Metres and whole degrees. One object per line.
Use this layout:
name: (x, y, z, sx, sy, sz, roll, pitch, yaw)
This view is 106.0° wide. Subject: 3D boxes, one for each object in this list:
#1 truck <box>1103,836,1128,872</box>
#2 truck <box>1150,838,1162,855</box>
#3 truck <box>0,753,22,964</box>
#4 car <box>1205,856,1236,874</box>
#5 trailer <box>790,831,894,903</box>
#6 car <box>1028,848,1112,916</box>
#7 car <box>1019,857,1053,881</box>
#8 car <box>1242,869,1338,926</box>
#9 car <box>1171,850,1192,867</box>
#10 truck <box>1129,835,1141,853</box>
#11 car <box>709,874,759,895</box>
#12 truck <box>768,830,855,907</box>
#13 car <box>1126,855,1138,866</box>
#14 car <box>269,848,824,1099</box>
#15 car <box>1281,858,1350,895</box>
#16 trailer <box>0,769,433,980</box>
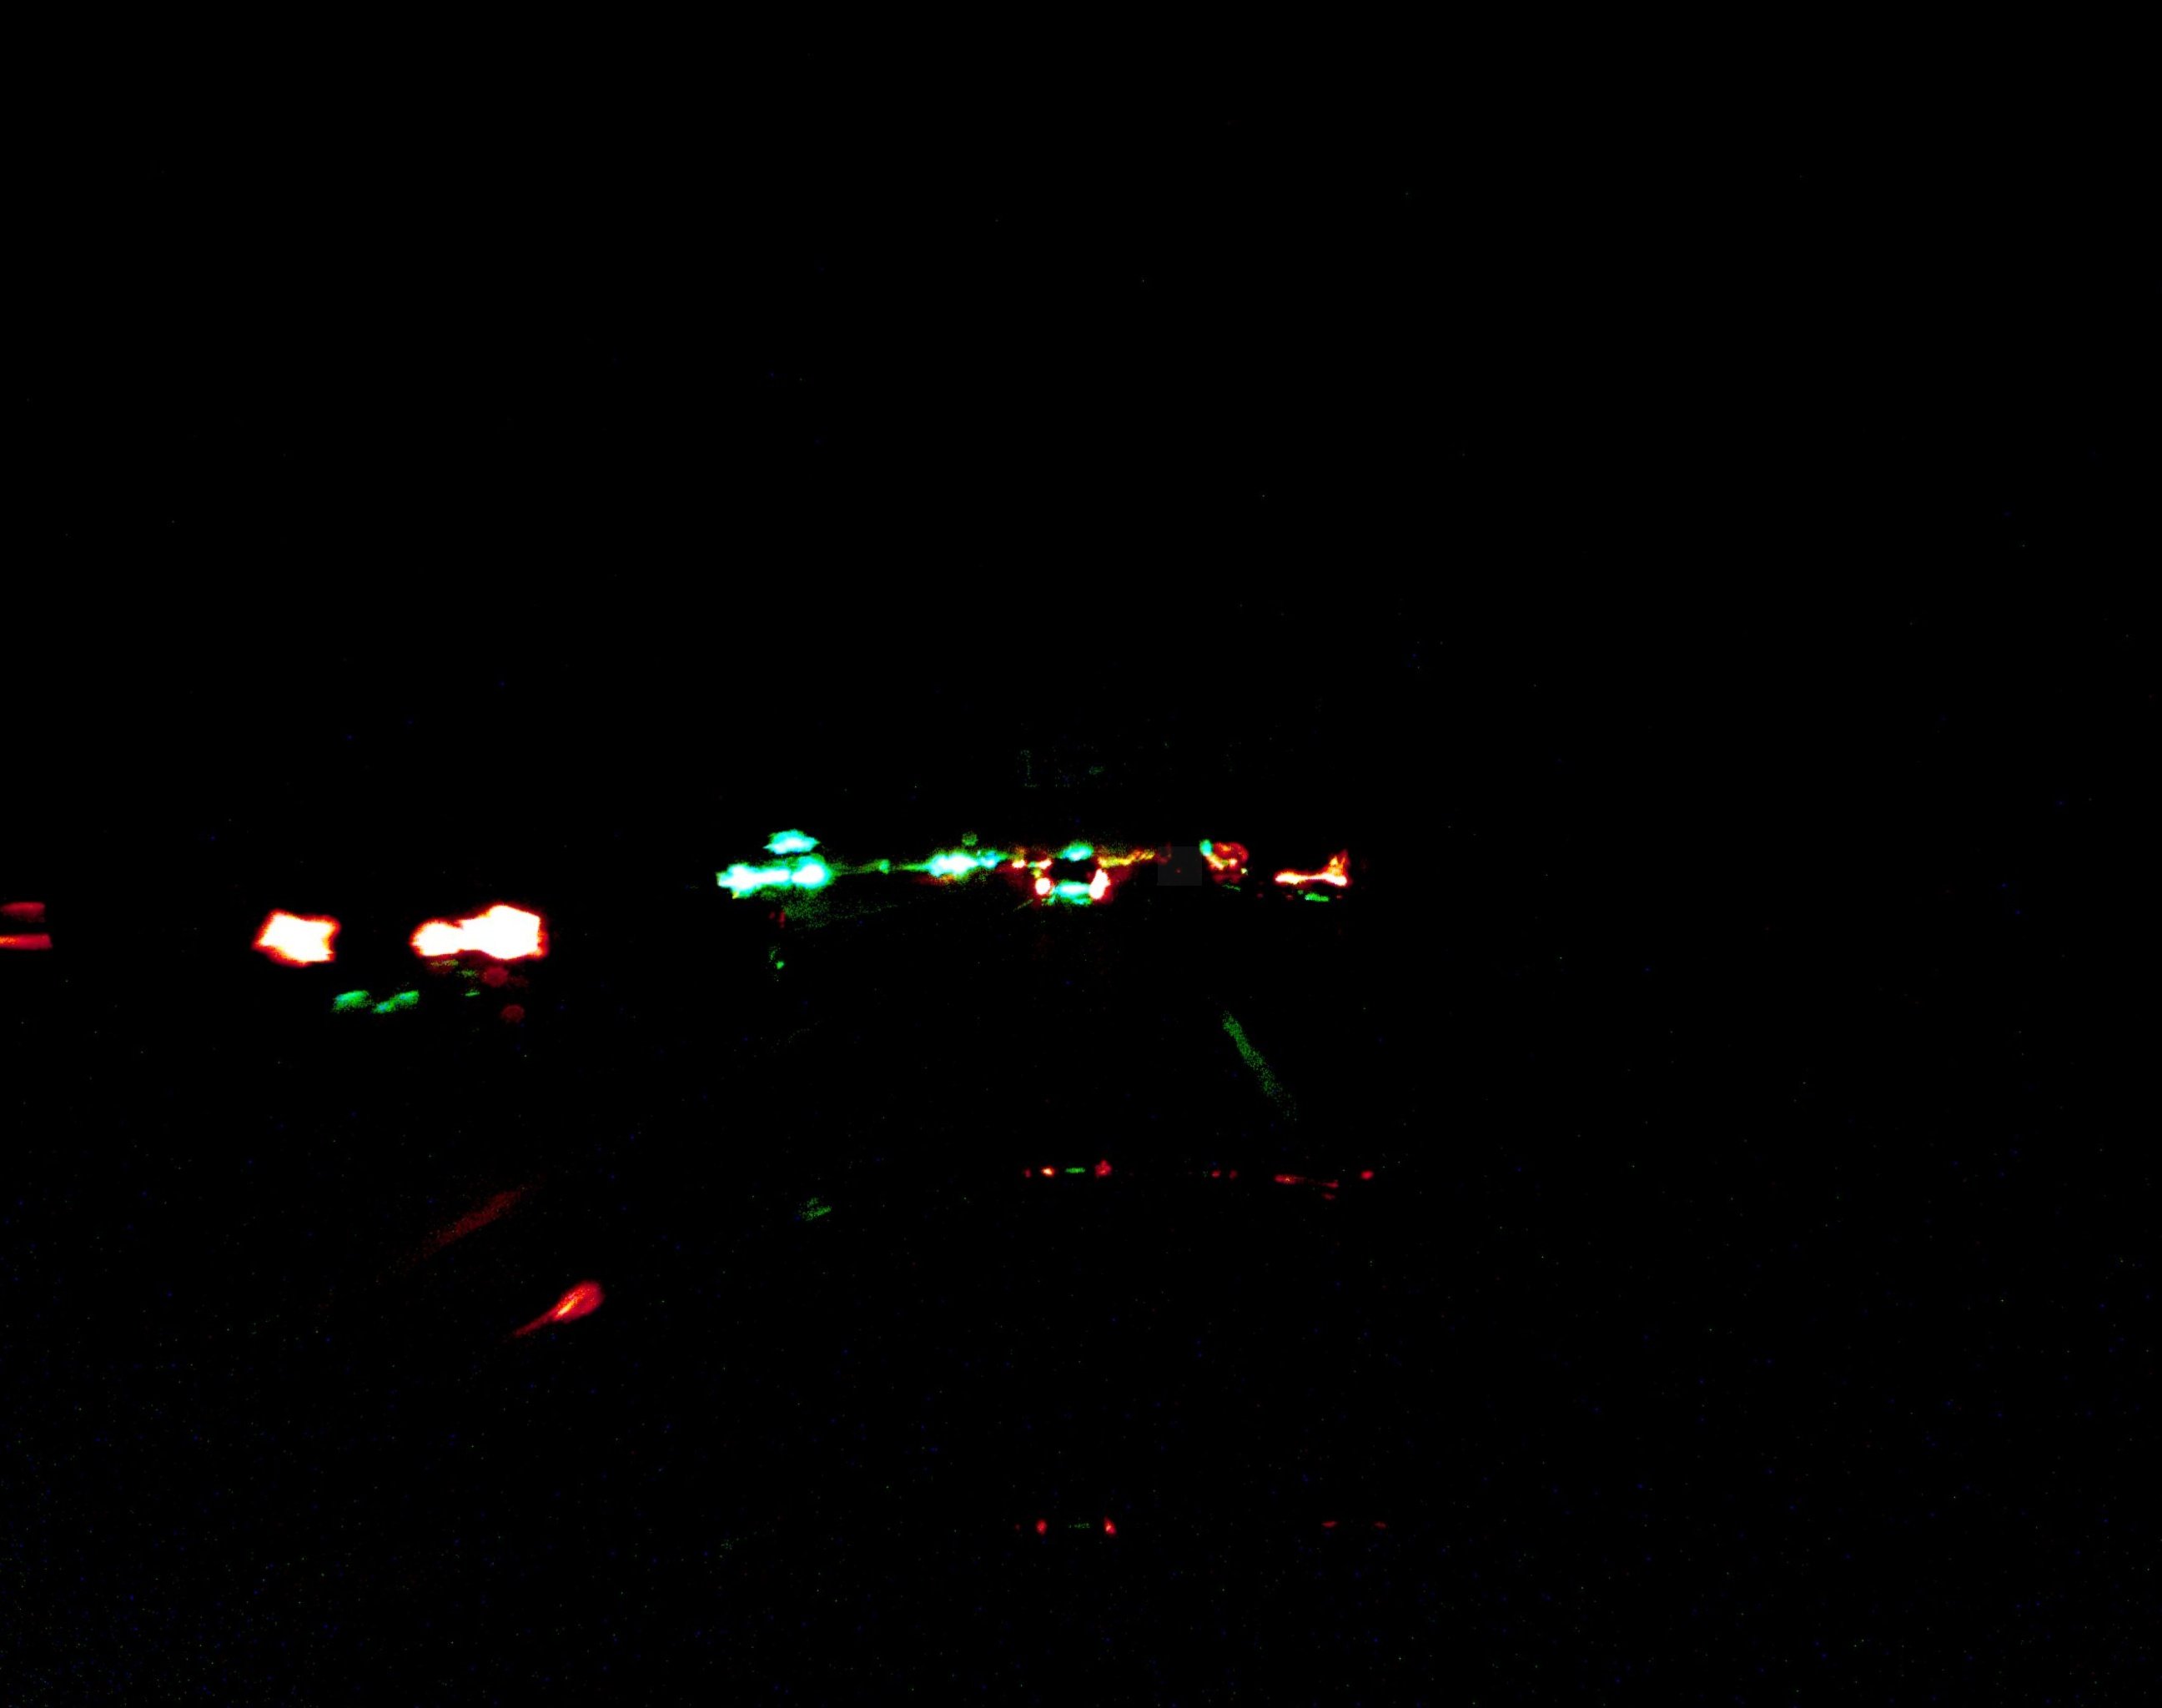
truck: (3.245, 0.042, 75.440, 1.985, 3.042, 6.472, -4, -1, 4)
truck: (14.876, -1.472, 162.460, 1.985, 3.042, 6.472, -4, -1, 4)
truck: (-20.566, 0.140, 11.421, 2.686, 3.759, 6.456, -4, -1, 2)
car: (9.693, 0.742, 56.875, 1.576, 1.246, 3.067, -1, 0, -1)
trailer: (-18.383, 0.990, 64.294, 2.911, 4.849, 14.590, -4, -1, 3)
car: (-0.171, 0.616, 20.101, 1.794, 1.487, 4.003, -1, 0, 3)
car: (-2.626, 0.885, 48.208, 1.656, 1.236, 3.762, -4, -1, 1)
car: (5.166, 1.044, 20.460, 1.576, 1.246, 3.067, -1, 0, -1)
car: (9.985, 0.452, 80.899, 1.855, 1.618, 4.004, -1, 0, 4)
truck: (9.759, -1.713, 146.407, 1.985, 3.042, 6.472, -4, -1, 4)
car: (-26.353, 2.293, 61.957, 1.553, 1.377, 4.597, -4, -1, 3)
truck: (-18.739, 0.950, 57.187, 2.911, 4.849, 7.582, -4, -1, 3)
car: (7.725, 0.987, 123.428, 1.855, 1.618, 4.004, -1, 0, 4)
car: (-4.214, 0.762, 7.641, 1.851, 1.540, 4.754, -1, 1, 3)
car: (8.448, 0.773, 29.567, 1.576, 1.246, 3.067, -1, 0, -1)
trailer: (-20.419, 0.484, 17.739, 2.687, 3.748, 12.021, -4, -1, 1)
